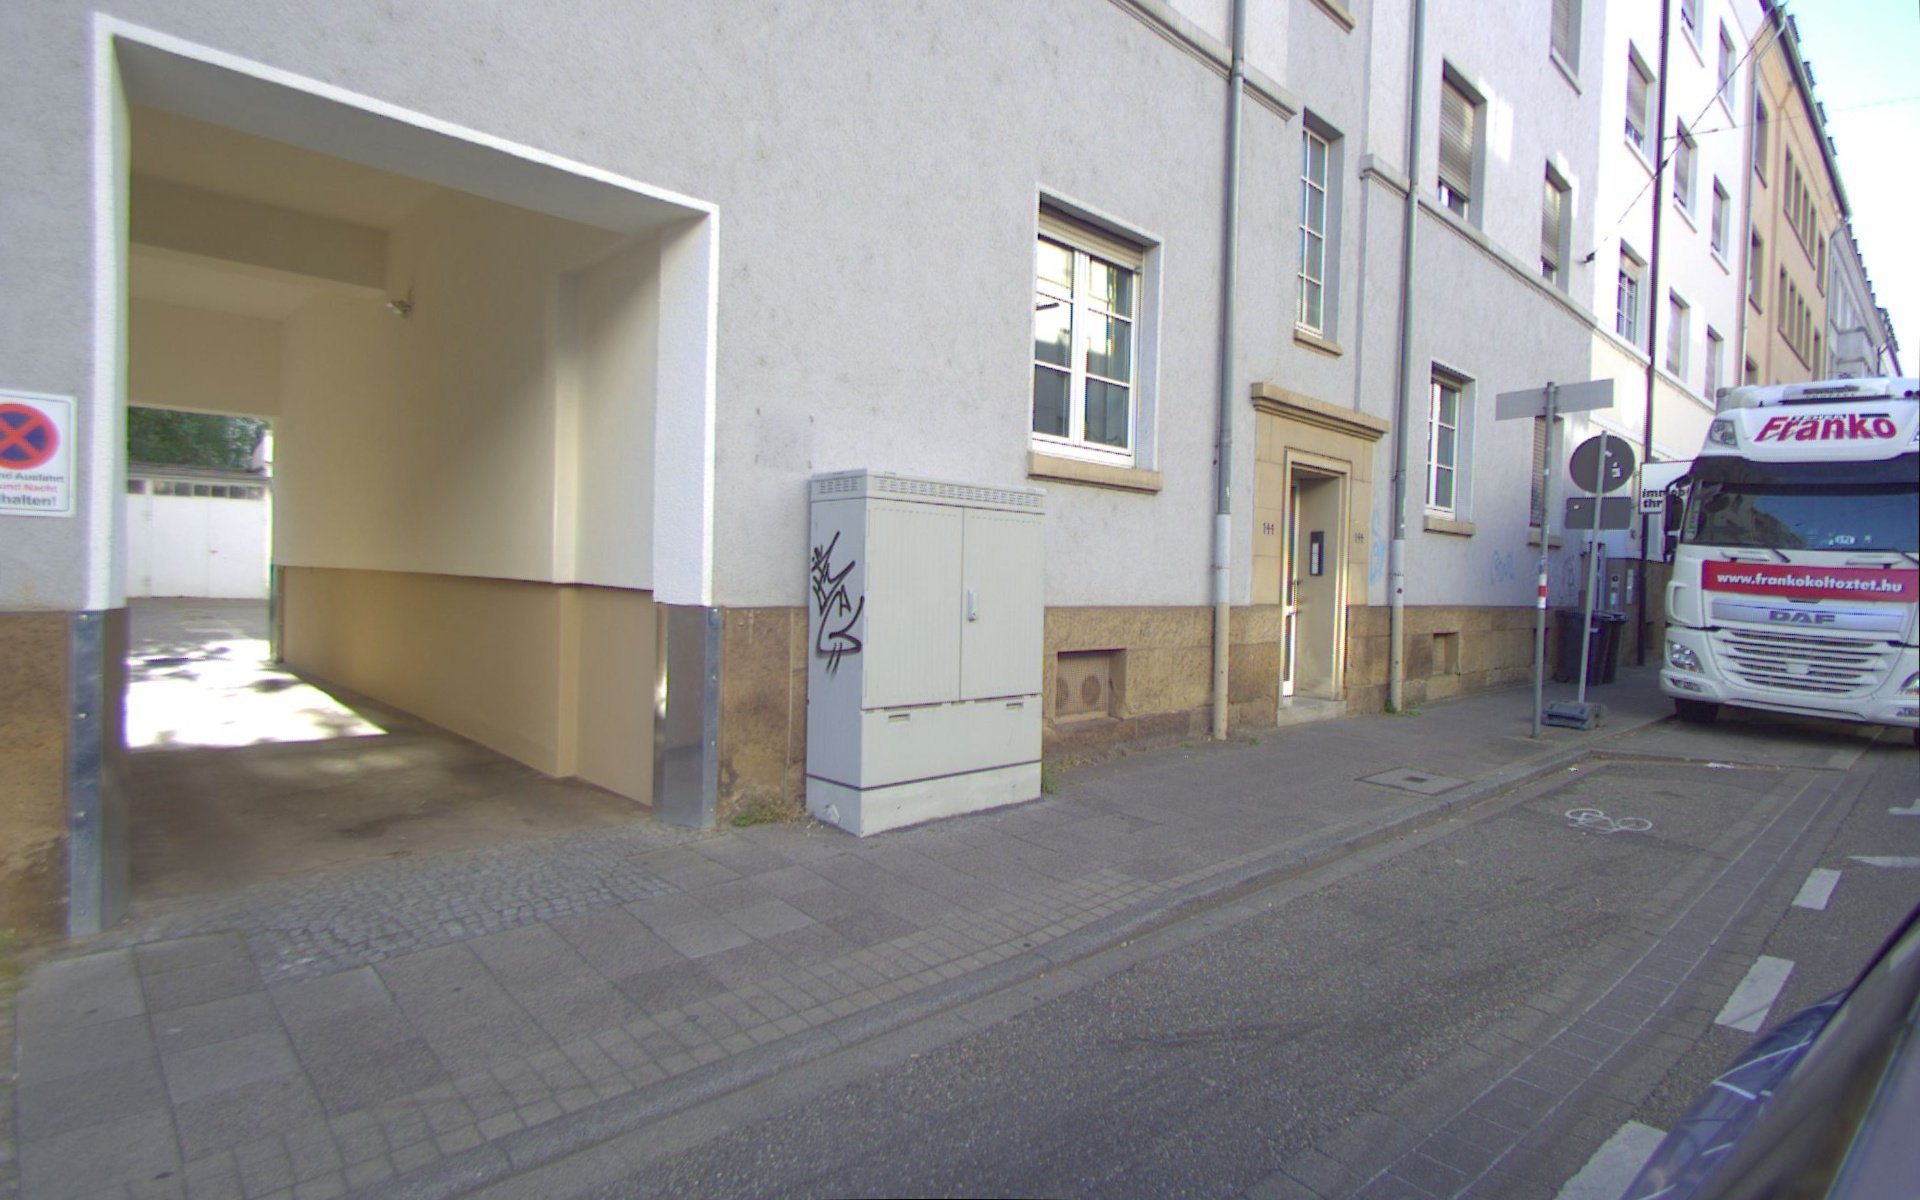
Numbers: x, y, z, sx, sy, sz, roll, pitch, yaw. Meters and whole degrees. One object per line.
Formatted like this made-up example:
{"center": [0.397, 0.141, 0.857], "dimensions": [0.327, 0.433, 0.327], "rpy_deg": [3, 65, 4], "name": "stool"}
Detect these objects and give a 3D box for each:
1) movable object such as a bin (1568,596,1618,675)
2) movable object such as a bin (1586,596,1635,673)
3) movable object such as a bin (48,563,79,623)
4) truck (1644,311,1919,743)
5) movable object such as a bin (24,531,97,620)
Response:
{"center": [9.133, 0.499, 14.599], "dimensions": [0.511, 1.106, 0.488], "rpy_deg": [0, 0, 45], "name": "movable object such as a bin"}
{"center": [9.607, 0.498, 14.948], "dimensions": [0.511, 1.106, 0.488], "rpy_deg": [0, 0, 45], "name": "movable object such as a bin"}
{"center": [-14.352, -0.117, 16.203], "dimensions": [0.366, 0.919, 0.420], "rpy_deg": [0, 3, -44], "name": "movable object such as a bin"}
{"center": [12.562, -0.668, 13.904], "dimensions": [11.511, 4.012, 2.894], "rpy_deg": [0, 0, -44], "name": "truck"}
{"center": [-14.884, -0.419, 16.746], "dimensions": [0.874, 1.409, 0.758], "rpy_deg": [0, 4, -44], "name": "movable object such as a bin"}
